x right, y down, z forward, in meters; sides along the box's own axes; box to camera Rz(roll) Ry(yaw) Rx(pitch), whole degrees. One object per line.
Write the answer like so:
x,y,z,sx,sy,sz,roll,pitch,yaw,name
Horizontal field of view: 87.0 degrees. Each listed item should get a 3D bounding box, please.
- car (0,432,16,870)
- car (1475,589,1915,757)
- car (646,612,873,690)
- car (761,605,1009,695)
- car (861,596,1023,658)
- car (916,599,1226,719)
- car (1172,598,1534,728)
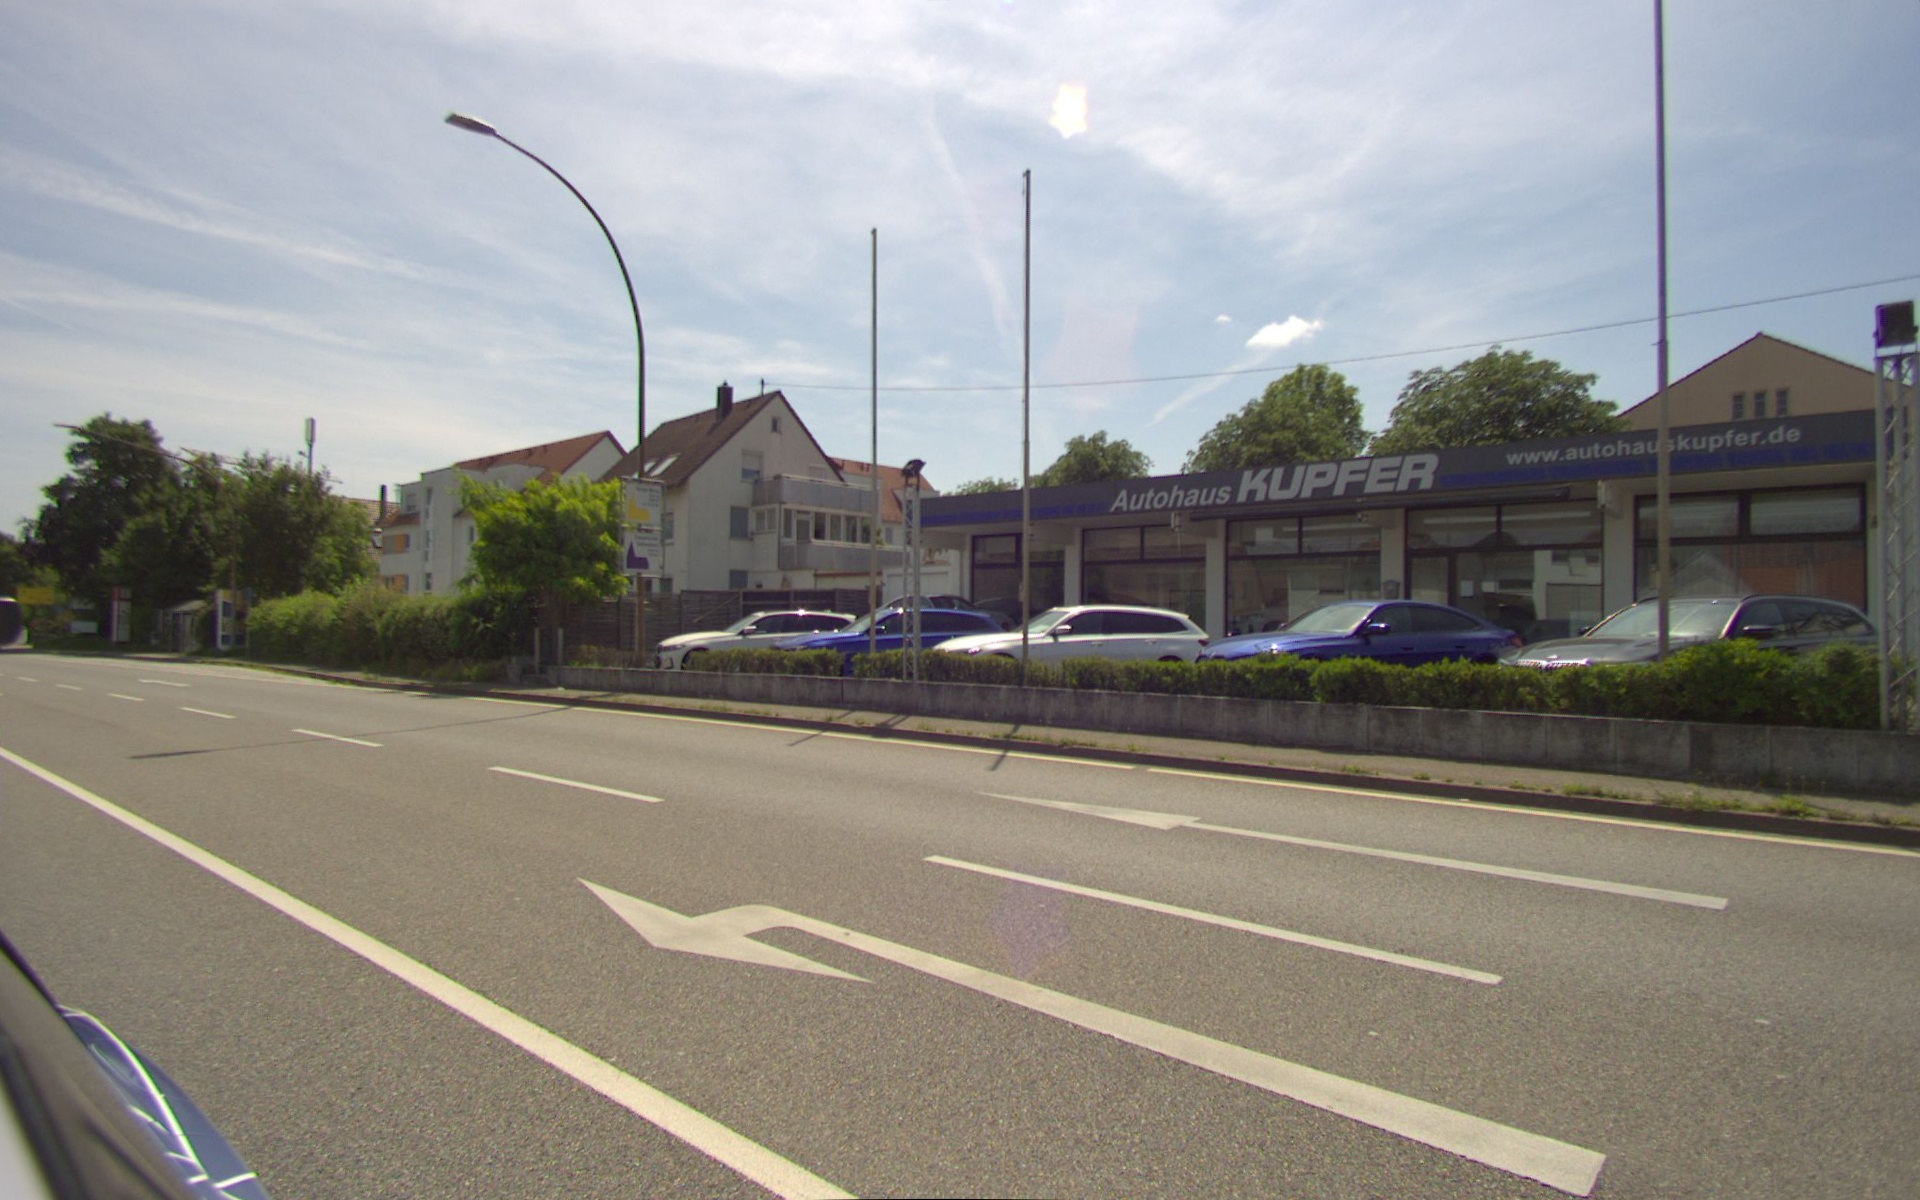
-8.340,0.347,7.052,5.744,2.548,1.915,-2,-1,40,car
7.778,0.635,10.697,4.267,1.458,1.905,-1,0,-25,car
-4.297,1.027,21.671,4.501,1.458,1.863,-1,0,-21,car
-1.428,0.868,18.990,4.267,1.458,1.863,-1,0,-21,car
-0.569,0.681,26.665,1.781,1.475,4.589,-1,-1,-40,car
1.733,0.838,15.988,4.438,1.458,1.863,-3,1,-20,car
5.166,0.732,13.377,4.267,1.458,1.863,-1,0,-20,car
